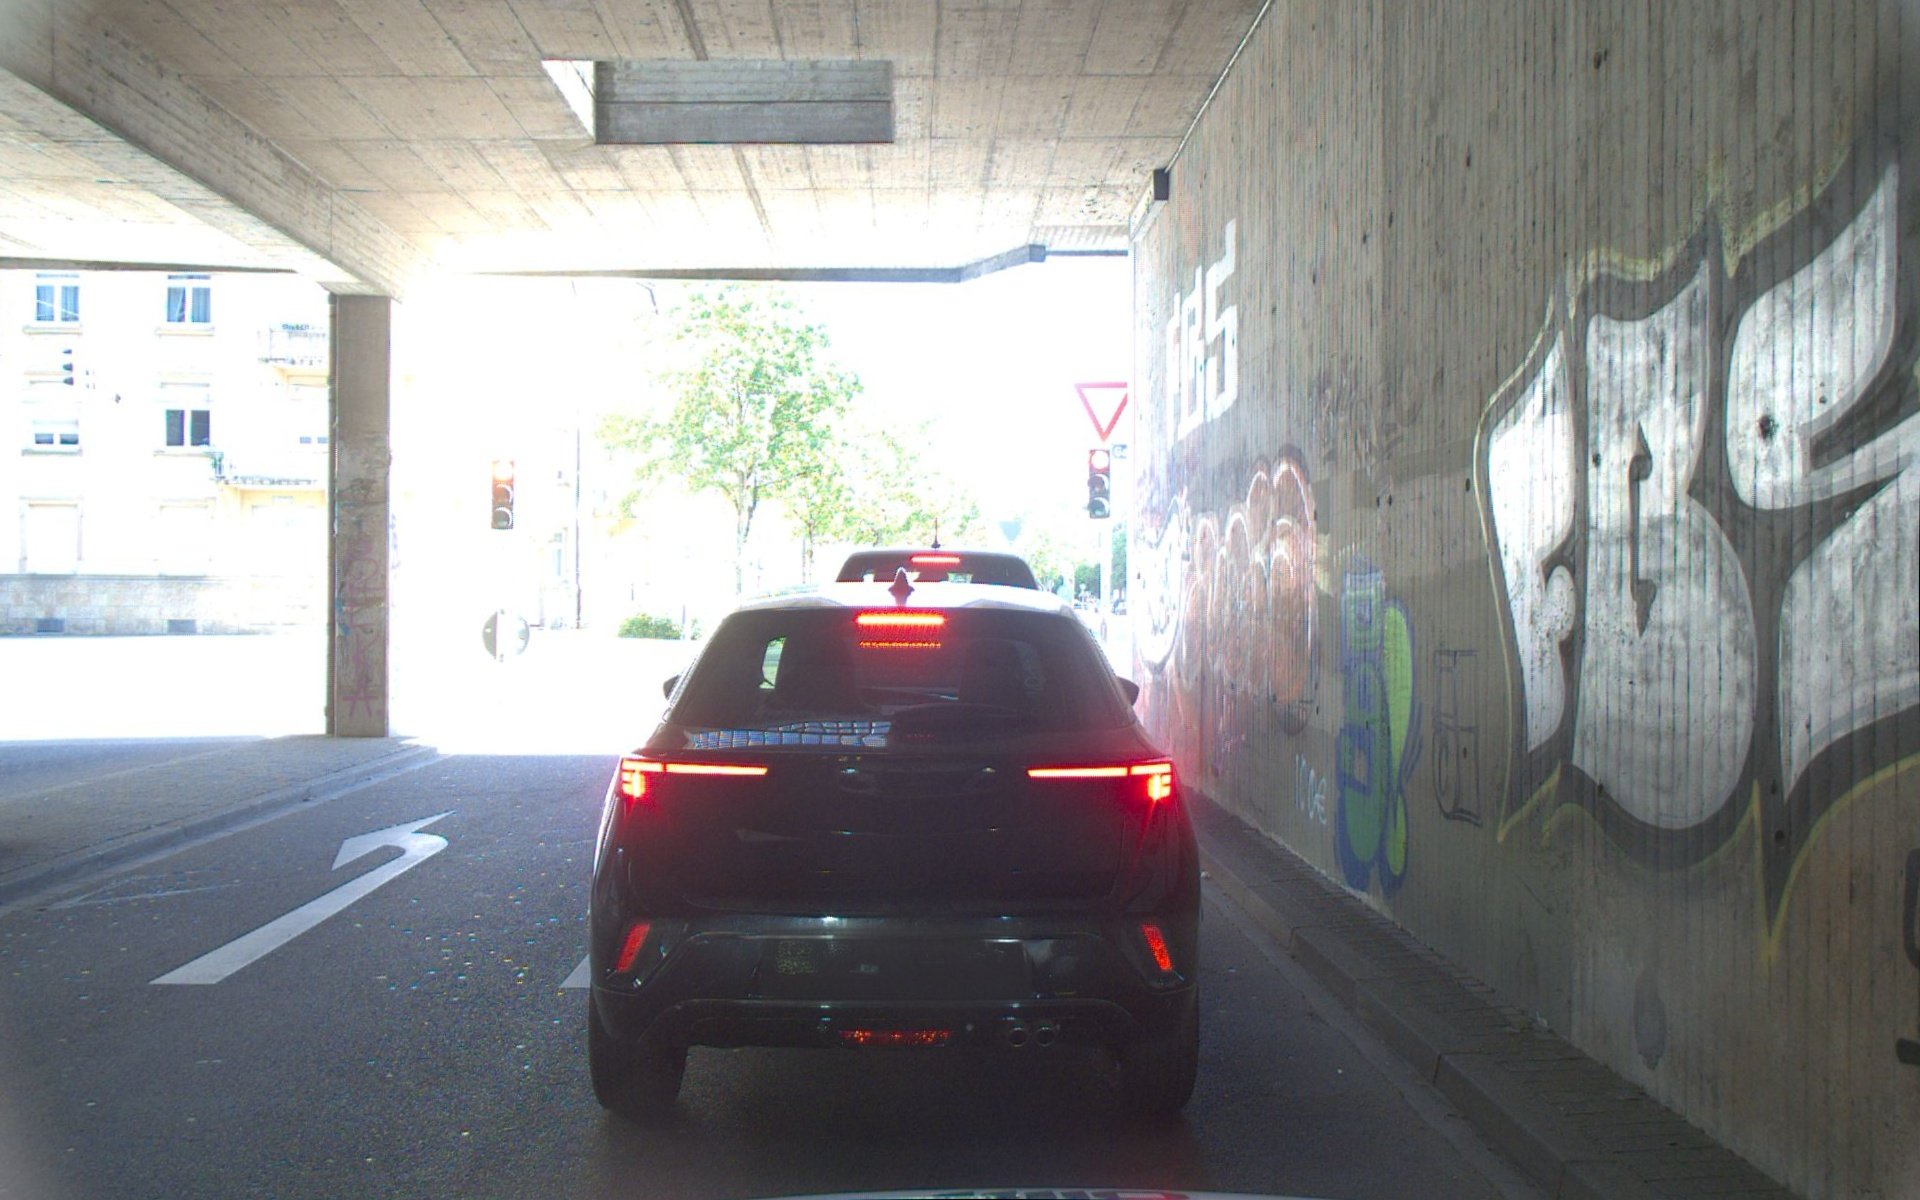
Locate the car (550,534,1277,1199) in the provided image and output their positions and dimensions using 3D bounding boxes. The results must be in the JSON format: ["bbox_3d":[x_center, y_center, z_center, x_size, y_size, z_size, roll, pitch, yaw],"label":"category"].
[{"bbox_3d":[-0.138,0.610,5.993,1.729,1.598,4.000,1,1,-1],"label":"car"}]

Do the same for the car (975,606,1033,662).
[{"bbox_3d":[1.702,1.252,62.359,1.951,2.004,4.166,1,0,4],"label":"car"}]

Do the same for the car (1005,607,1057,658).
[{"bbox_3d":[2.971,1.330,68.459,1.951,2.004,4.166,1,0,4],"label":"car"}]

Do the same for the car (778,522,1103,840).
[{"bbox_3d":[-0.144,0.475,11.975,1.953,1.904,3.999,0,0,-1],"label":"car"}]

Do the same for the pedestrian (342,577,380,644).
[{"bbox_3d":[-15.041,0.269,41.553,0.658,1.666,0.740,1,-1,-1],"label":"pedestrian"}]

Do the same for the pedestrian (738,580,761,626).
[{"bbox_3d":[-9.817,0.146,77.182,0.873,2.124,0.808,1,-1,7],"label":"pedestrian"}]

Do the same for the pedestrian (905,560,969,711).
[{"bbox_3d":[-0.279,0.416,19.820,0.716,1.764,0.874,1,-1,-1],"label":"pedestrian"}]
